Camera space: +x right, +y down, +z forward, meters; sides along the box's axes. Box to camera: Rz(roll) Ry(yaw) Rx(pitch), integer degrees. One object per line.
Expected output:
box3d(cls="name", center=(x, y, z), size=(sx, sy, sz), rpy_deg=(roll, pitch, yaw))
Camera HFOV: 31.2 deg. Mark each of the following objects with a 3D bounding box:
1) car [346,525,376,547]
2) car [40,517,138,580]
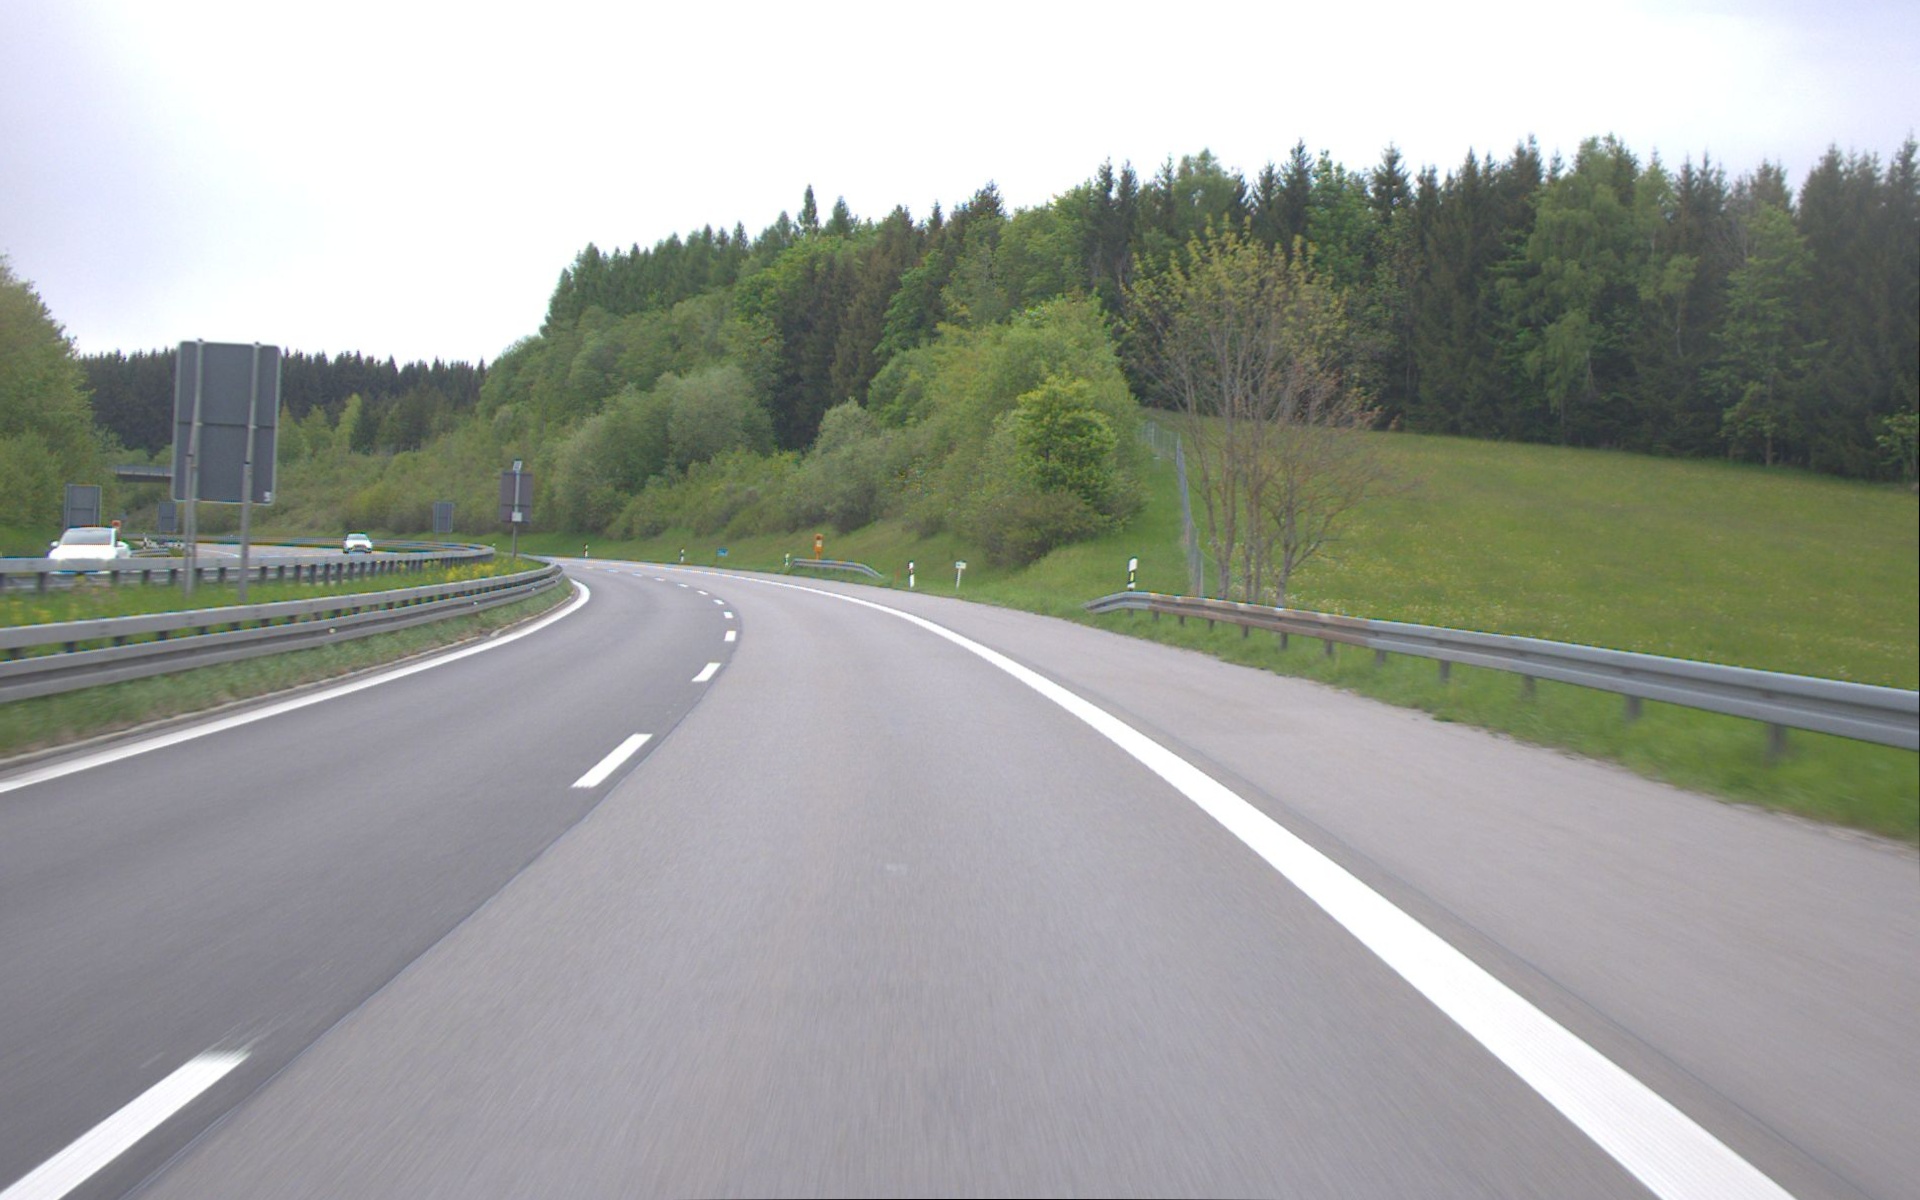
box3d(cls="car", center=(-43.745, -4.691, 251.180), size=(1.993, 1.424, 4.464), rpy_deg=(3, 1, -11))
box3d(cls="car", center=(-25.980, -1.563, 102.681), size=(2.035, 1.685, 5.056), rpy_deg=(3, 1, -6))
